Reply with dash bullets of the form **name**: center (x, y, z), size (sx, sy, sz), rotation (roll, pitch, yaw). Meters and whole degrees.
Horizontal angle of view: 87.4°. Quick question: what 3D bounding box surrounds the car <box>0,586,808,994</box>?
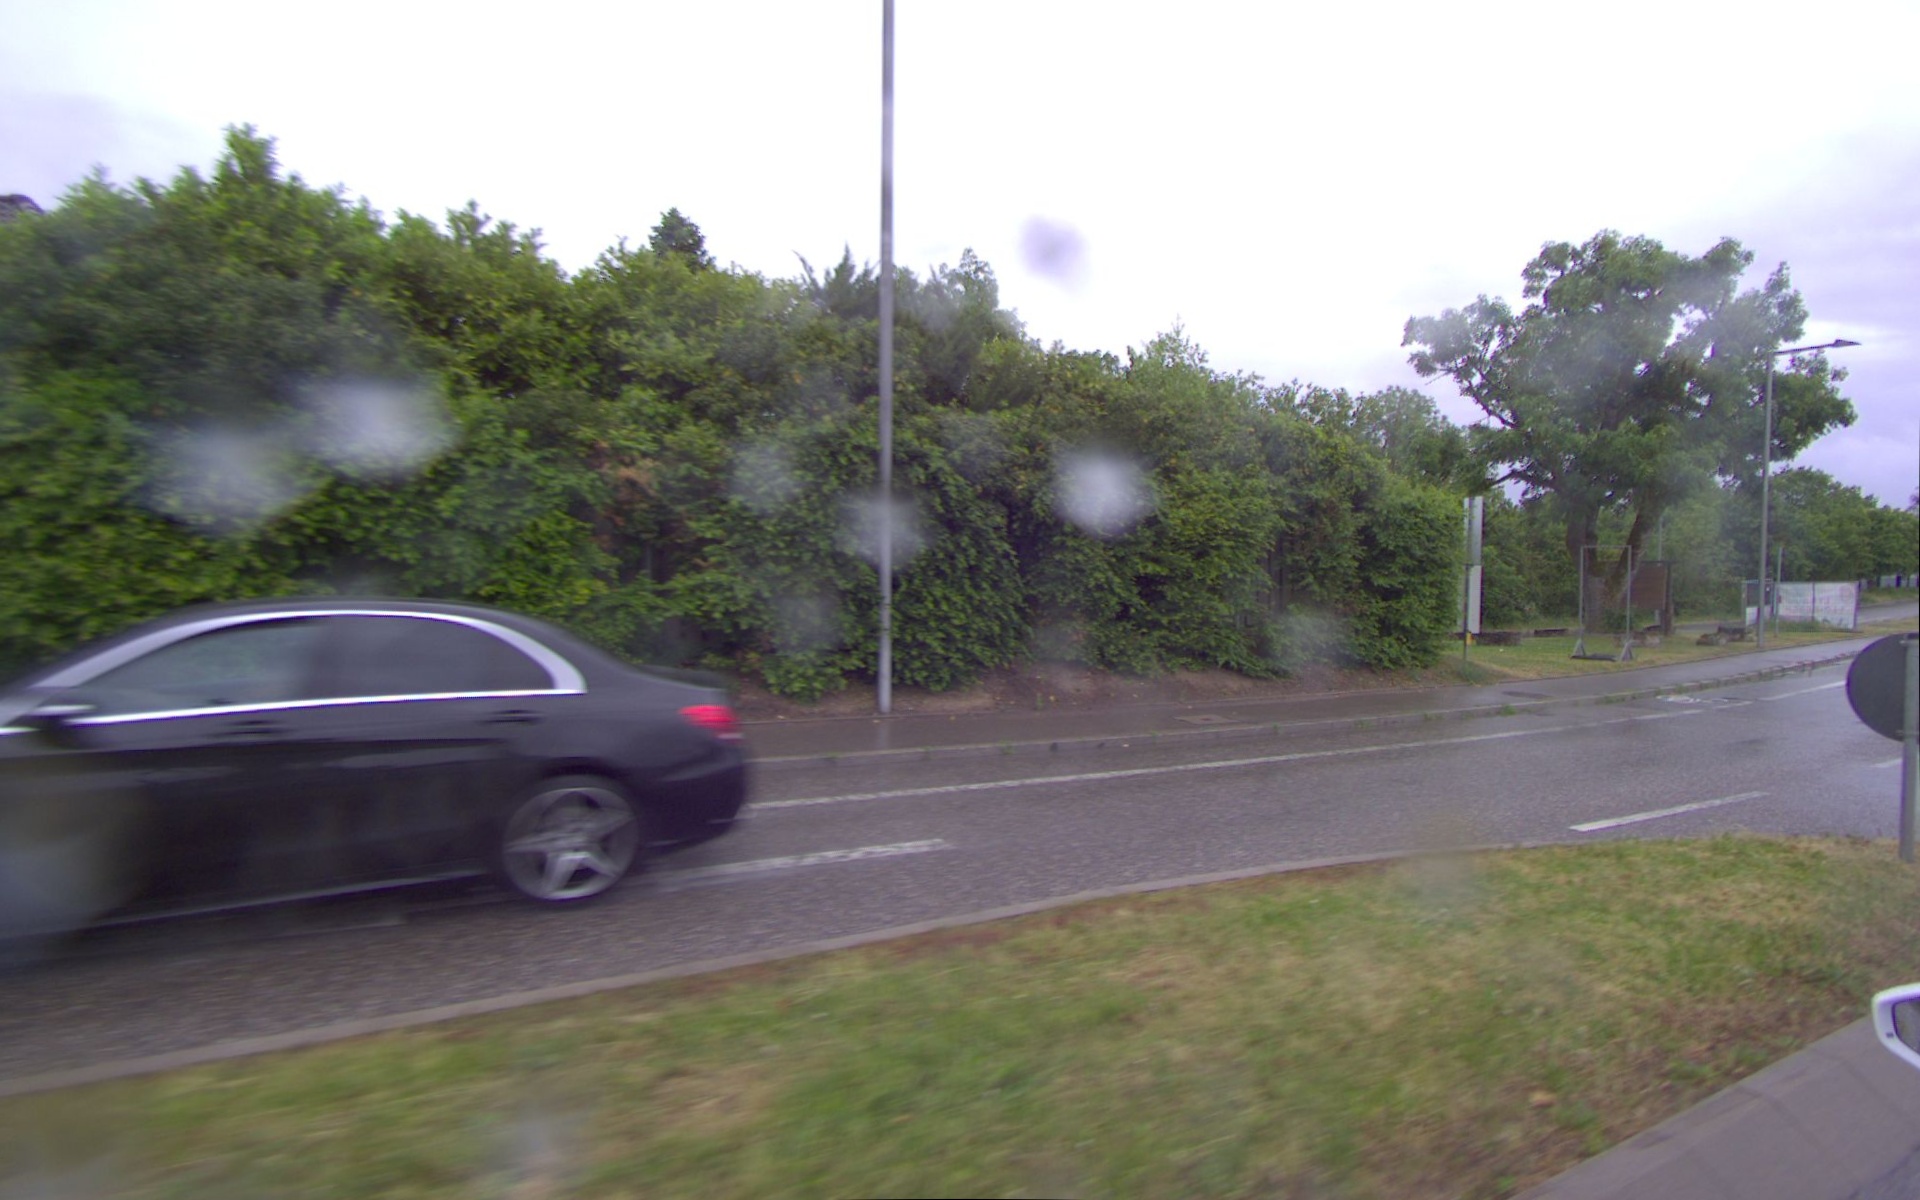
- **car**: center (-3.147, 0.685, 4.836), size (4.368, 1.433, 1.956), rotation (1, -1, -33)
